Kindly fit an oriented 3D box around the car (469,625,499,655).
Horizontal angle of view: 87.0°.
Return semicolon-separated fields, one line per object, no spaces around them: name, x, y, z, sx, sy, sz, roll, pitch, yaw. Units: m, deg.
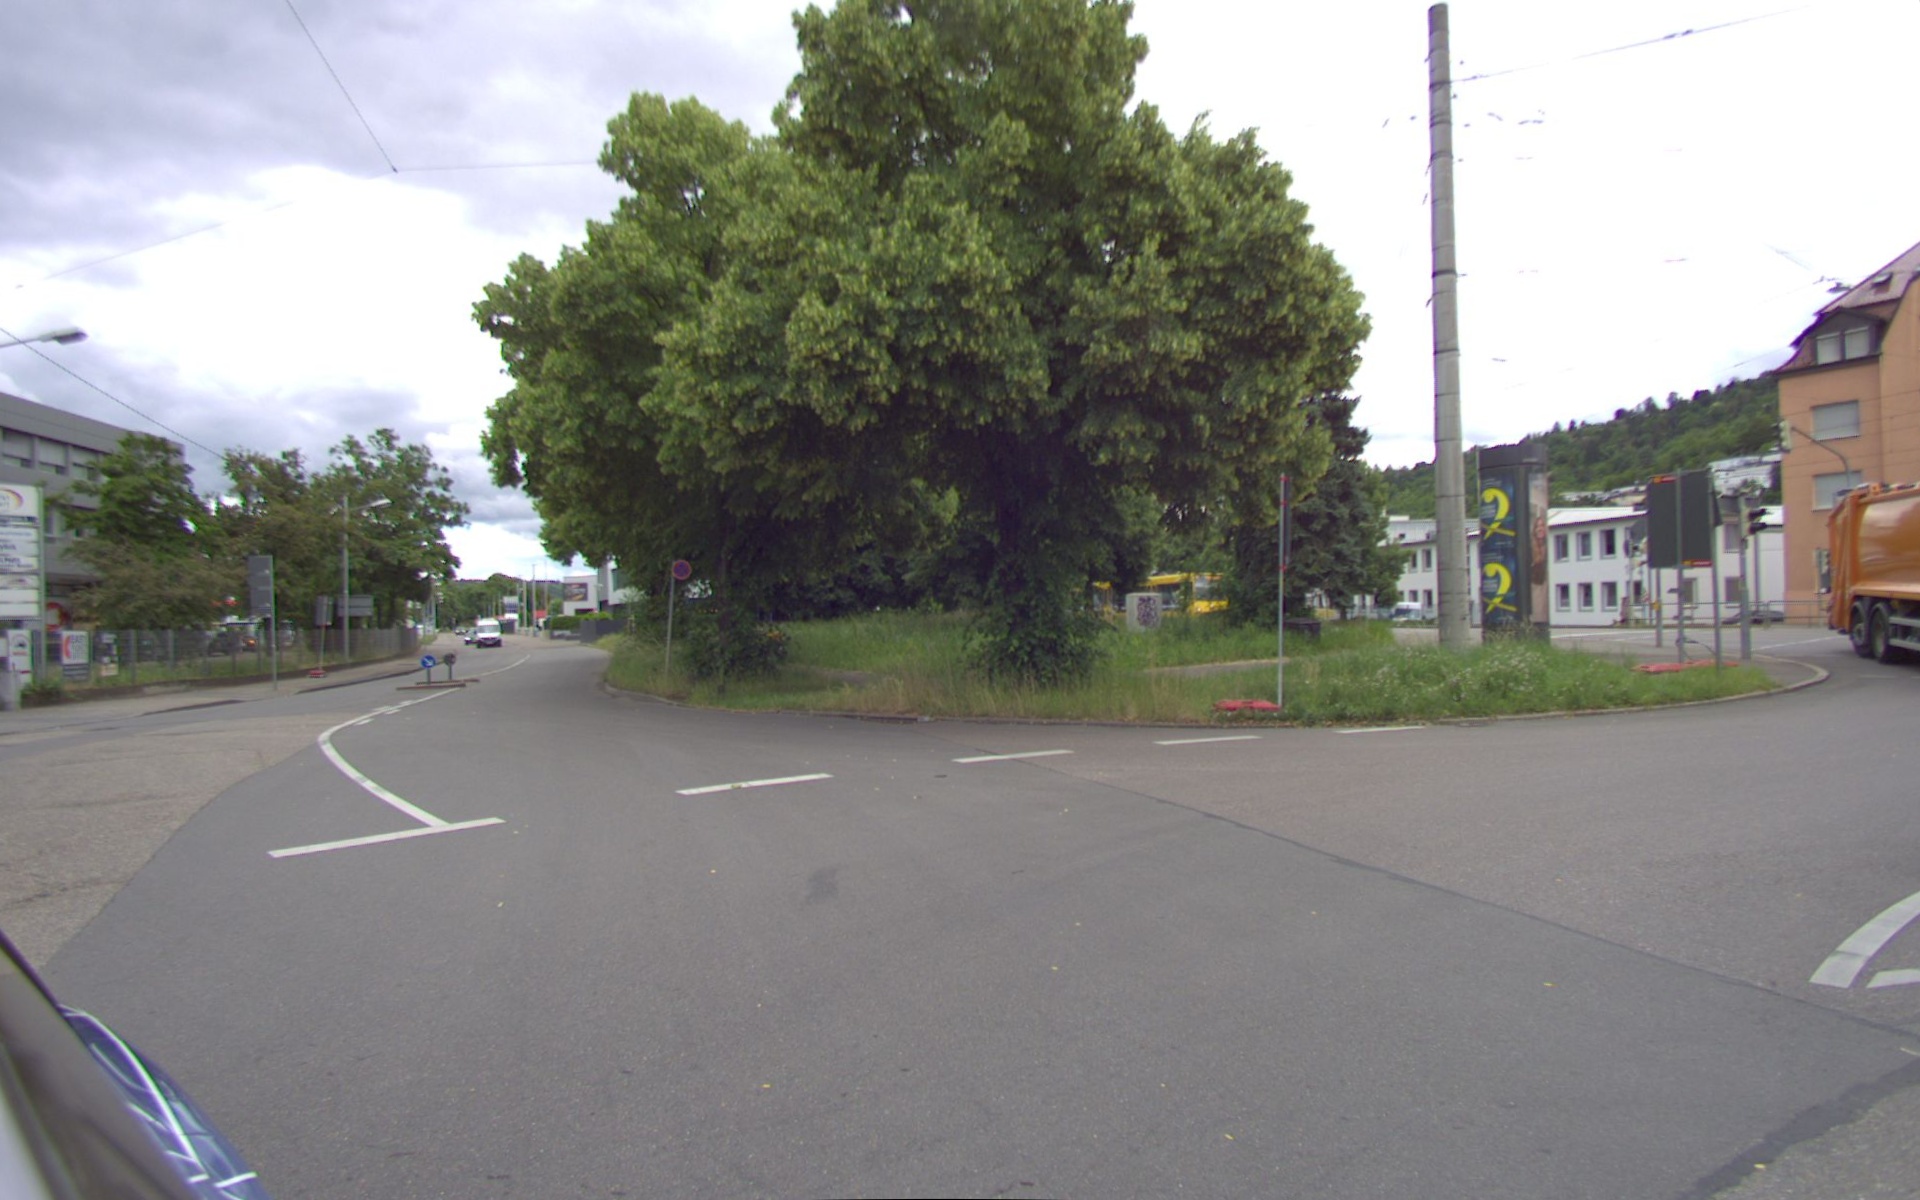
car;-43.146;3.604;91.806;2.348;2.477;6.120;-2;-1;-25

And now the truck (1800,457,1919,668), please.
truck;18.013;-0.683;17.616;2.783;3.553;10.329;-2;0;26

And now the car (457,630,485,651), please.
car;-49.121;4.030;101.733;2.348;1.884;5.224;-2;-1;-25

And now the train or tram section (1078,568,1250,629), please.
train or tram section;13.816;0.108;72.208;3.222;3.693;19.231;-2;-1;-17
